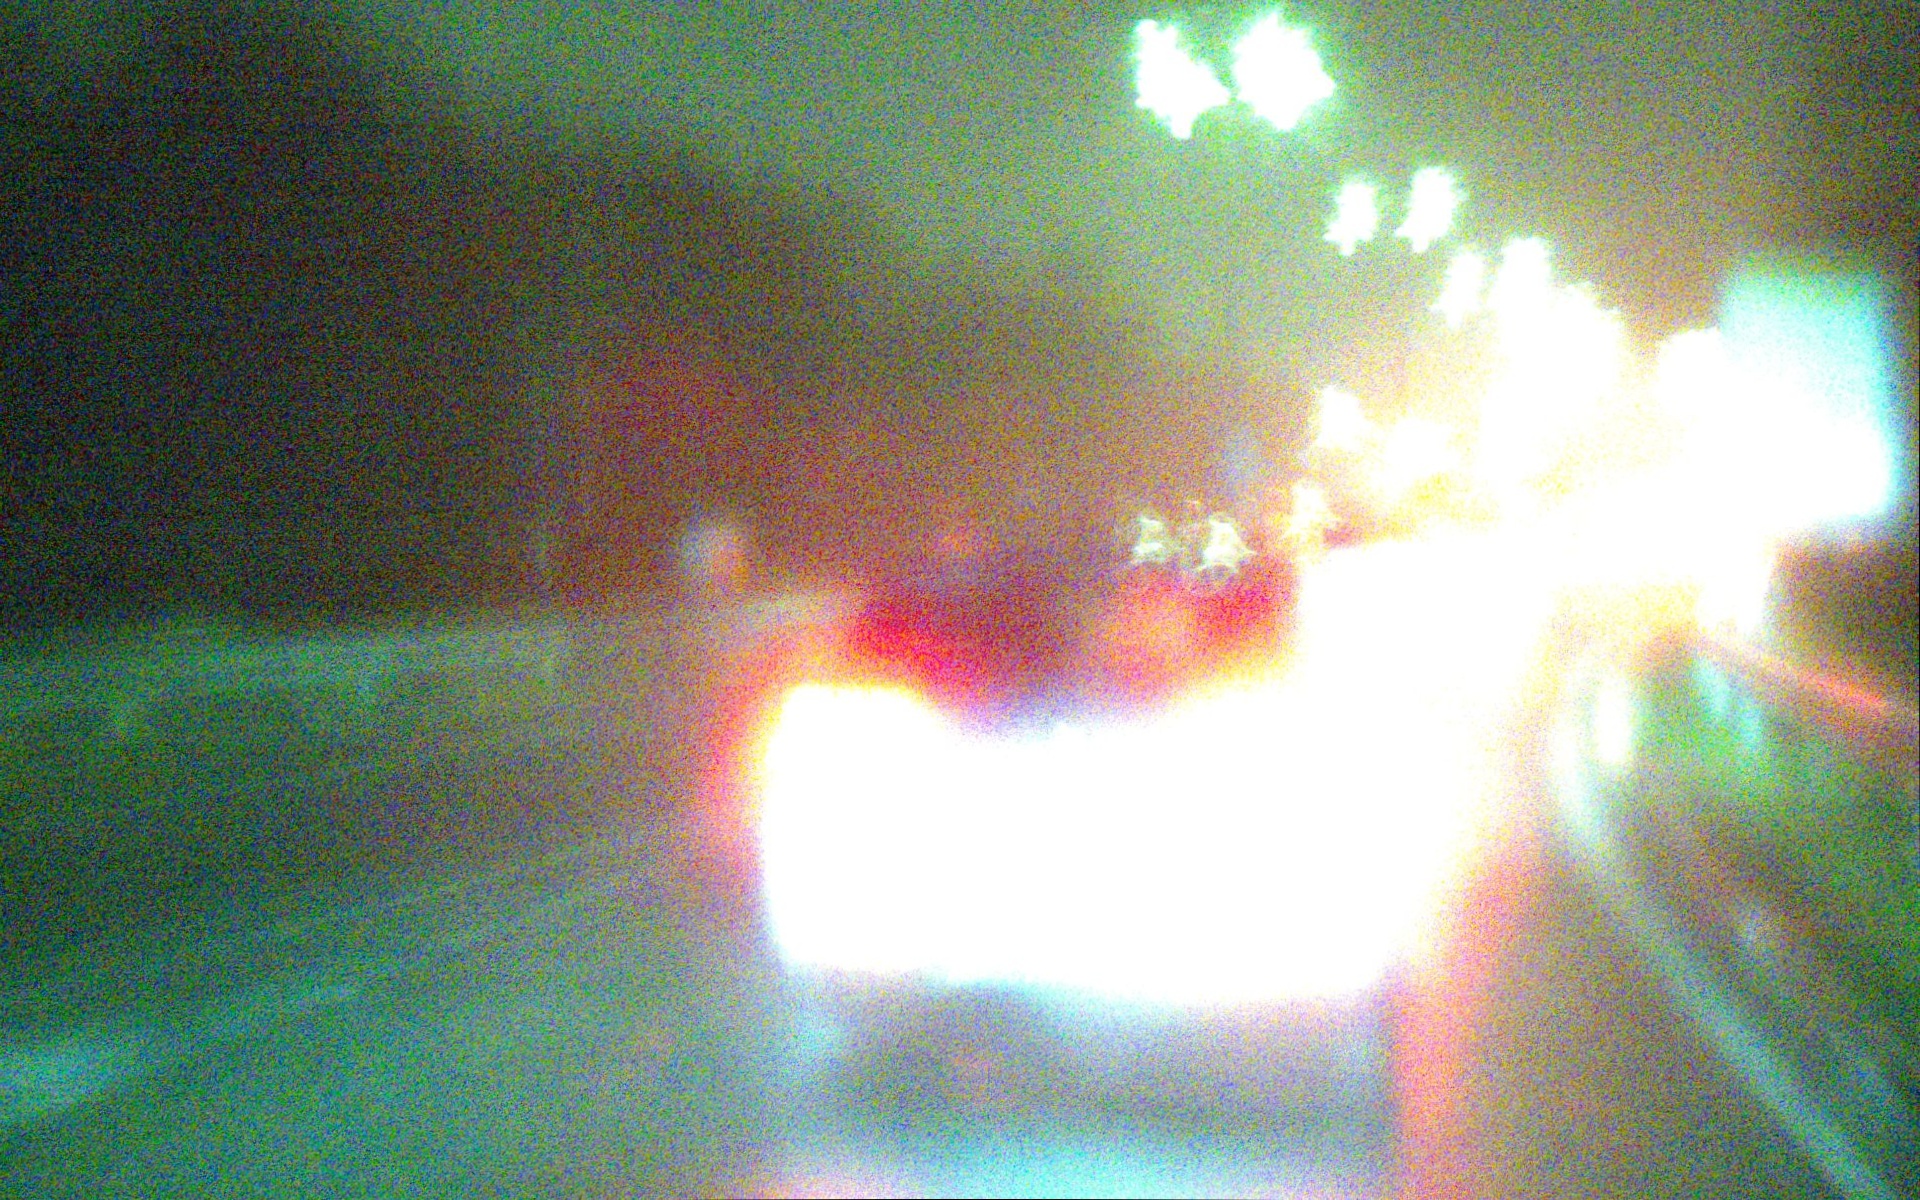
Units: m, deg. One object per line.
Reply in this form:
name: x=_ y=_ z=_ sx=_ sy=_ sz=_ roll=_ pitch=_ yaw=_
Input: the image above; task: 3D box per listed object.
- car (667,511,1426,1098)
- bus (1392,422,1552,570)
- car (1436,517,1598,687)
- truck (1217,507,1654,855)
car: x=0.456 y=0.494 z=10.674 sx=1.945 sy=1.486 sz=3.715 roll=-1 pitch=1 yaw=8
bus: x=11.587 y=-2.348 z=77.151 sx=2.745 sy=3.112 sz=9.196 roll=1 pitch=2 yaw=13
car: x=6.726 y=0.009 z=41.781 sx=1.837 sy=1.942 sz=3.999 roll=1 pitch=0 yaw=8
truck: x=4.207 y=0.563 z=28.984 sx=3.071 sy=2.520 sz=7.162 roll=1 pitch=0 yaw=12
